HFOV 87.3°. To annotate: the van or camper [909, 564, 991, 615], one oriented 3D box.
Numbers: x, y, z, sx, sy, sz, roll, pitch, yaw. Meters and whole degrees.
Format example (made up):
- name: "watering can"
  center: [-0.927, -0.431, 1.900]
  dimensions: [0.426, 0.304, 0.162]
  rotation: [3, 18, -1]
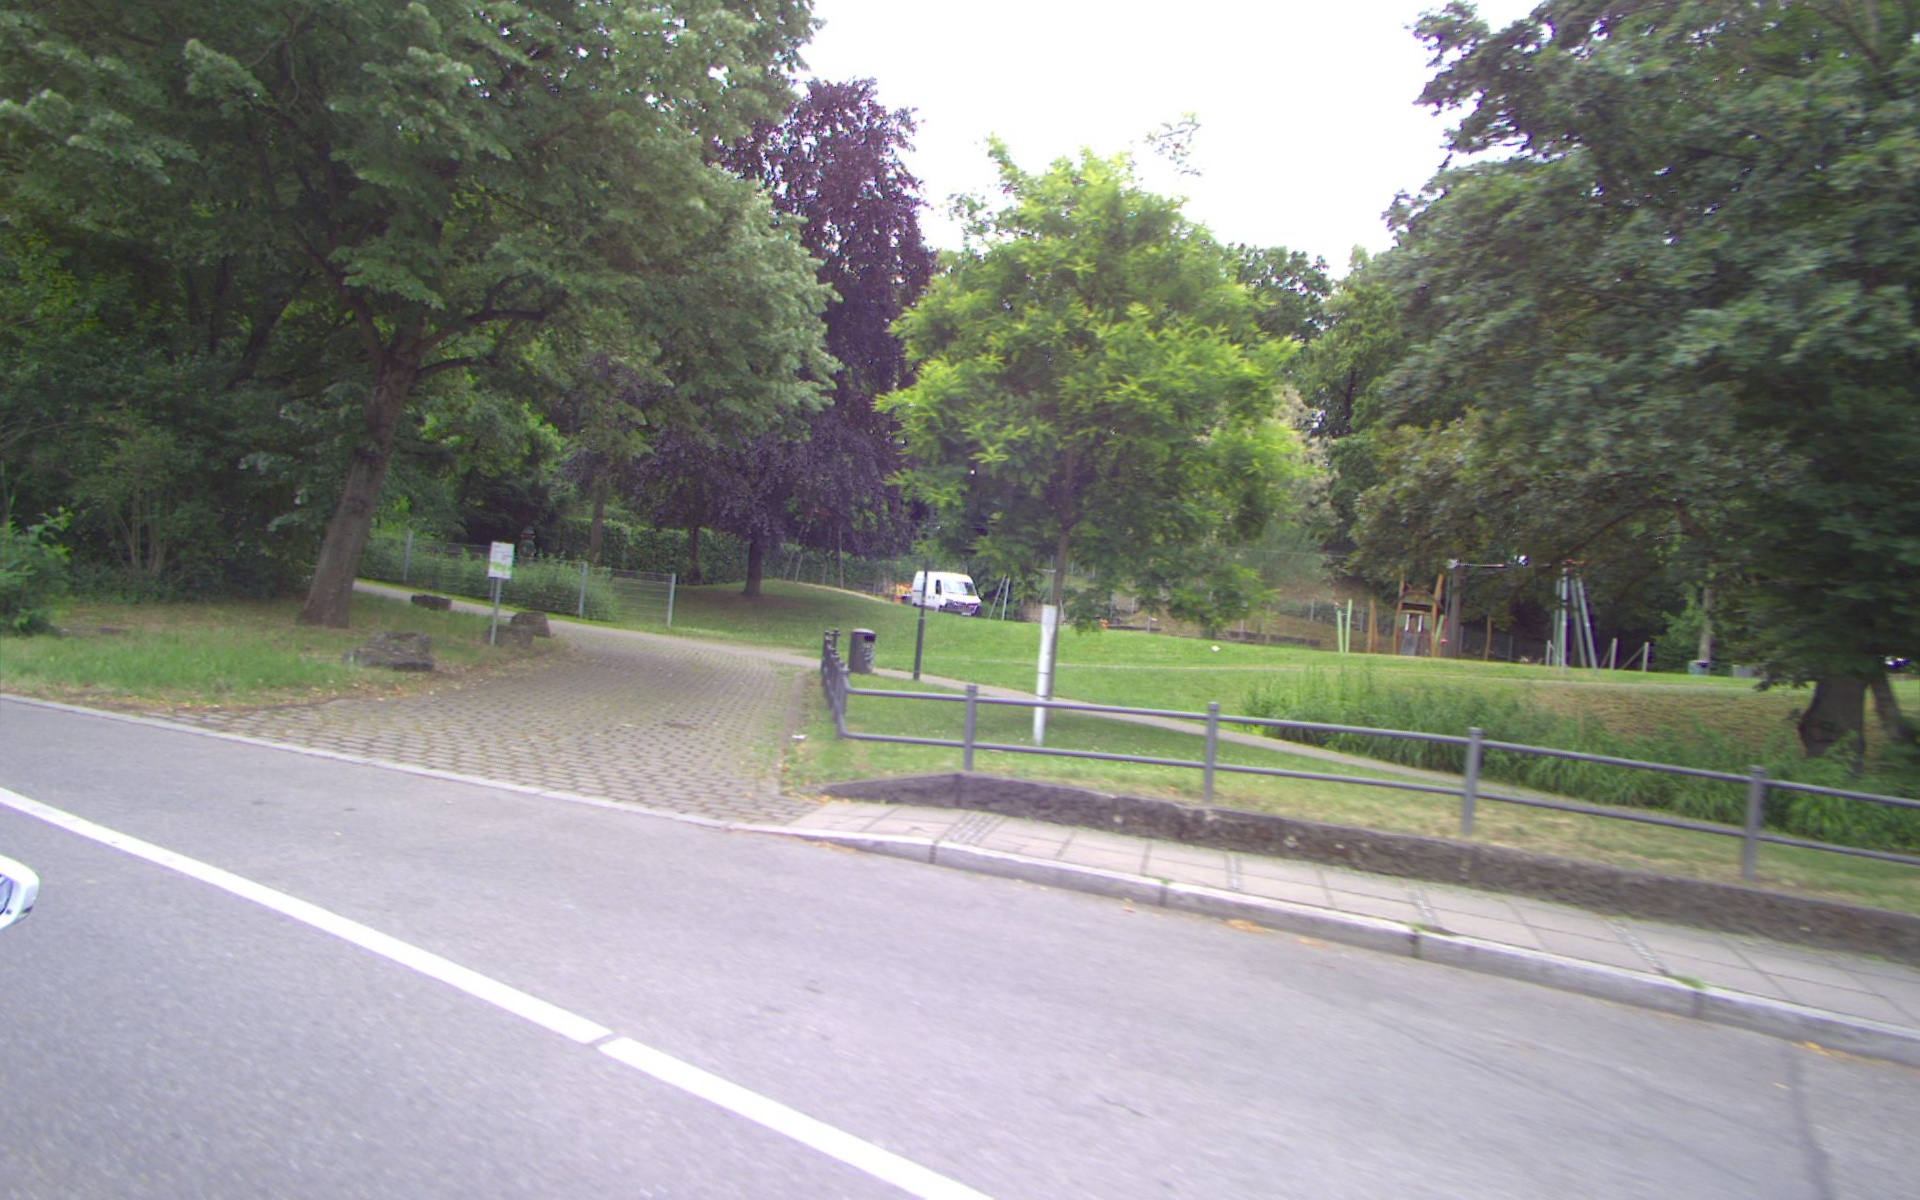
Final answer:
- name: "van or camper"
  center: [-0.607, -0.589, 50.732]
  dimensions: [2.279, 2.039, 5.415]
  rotation: [7, 1, -20]
